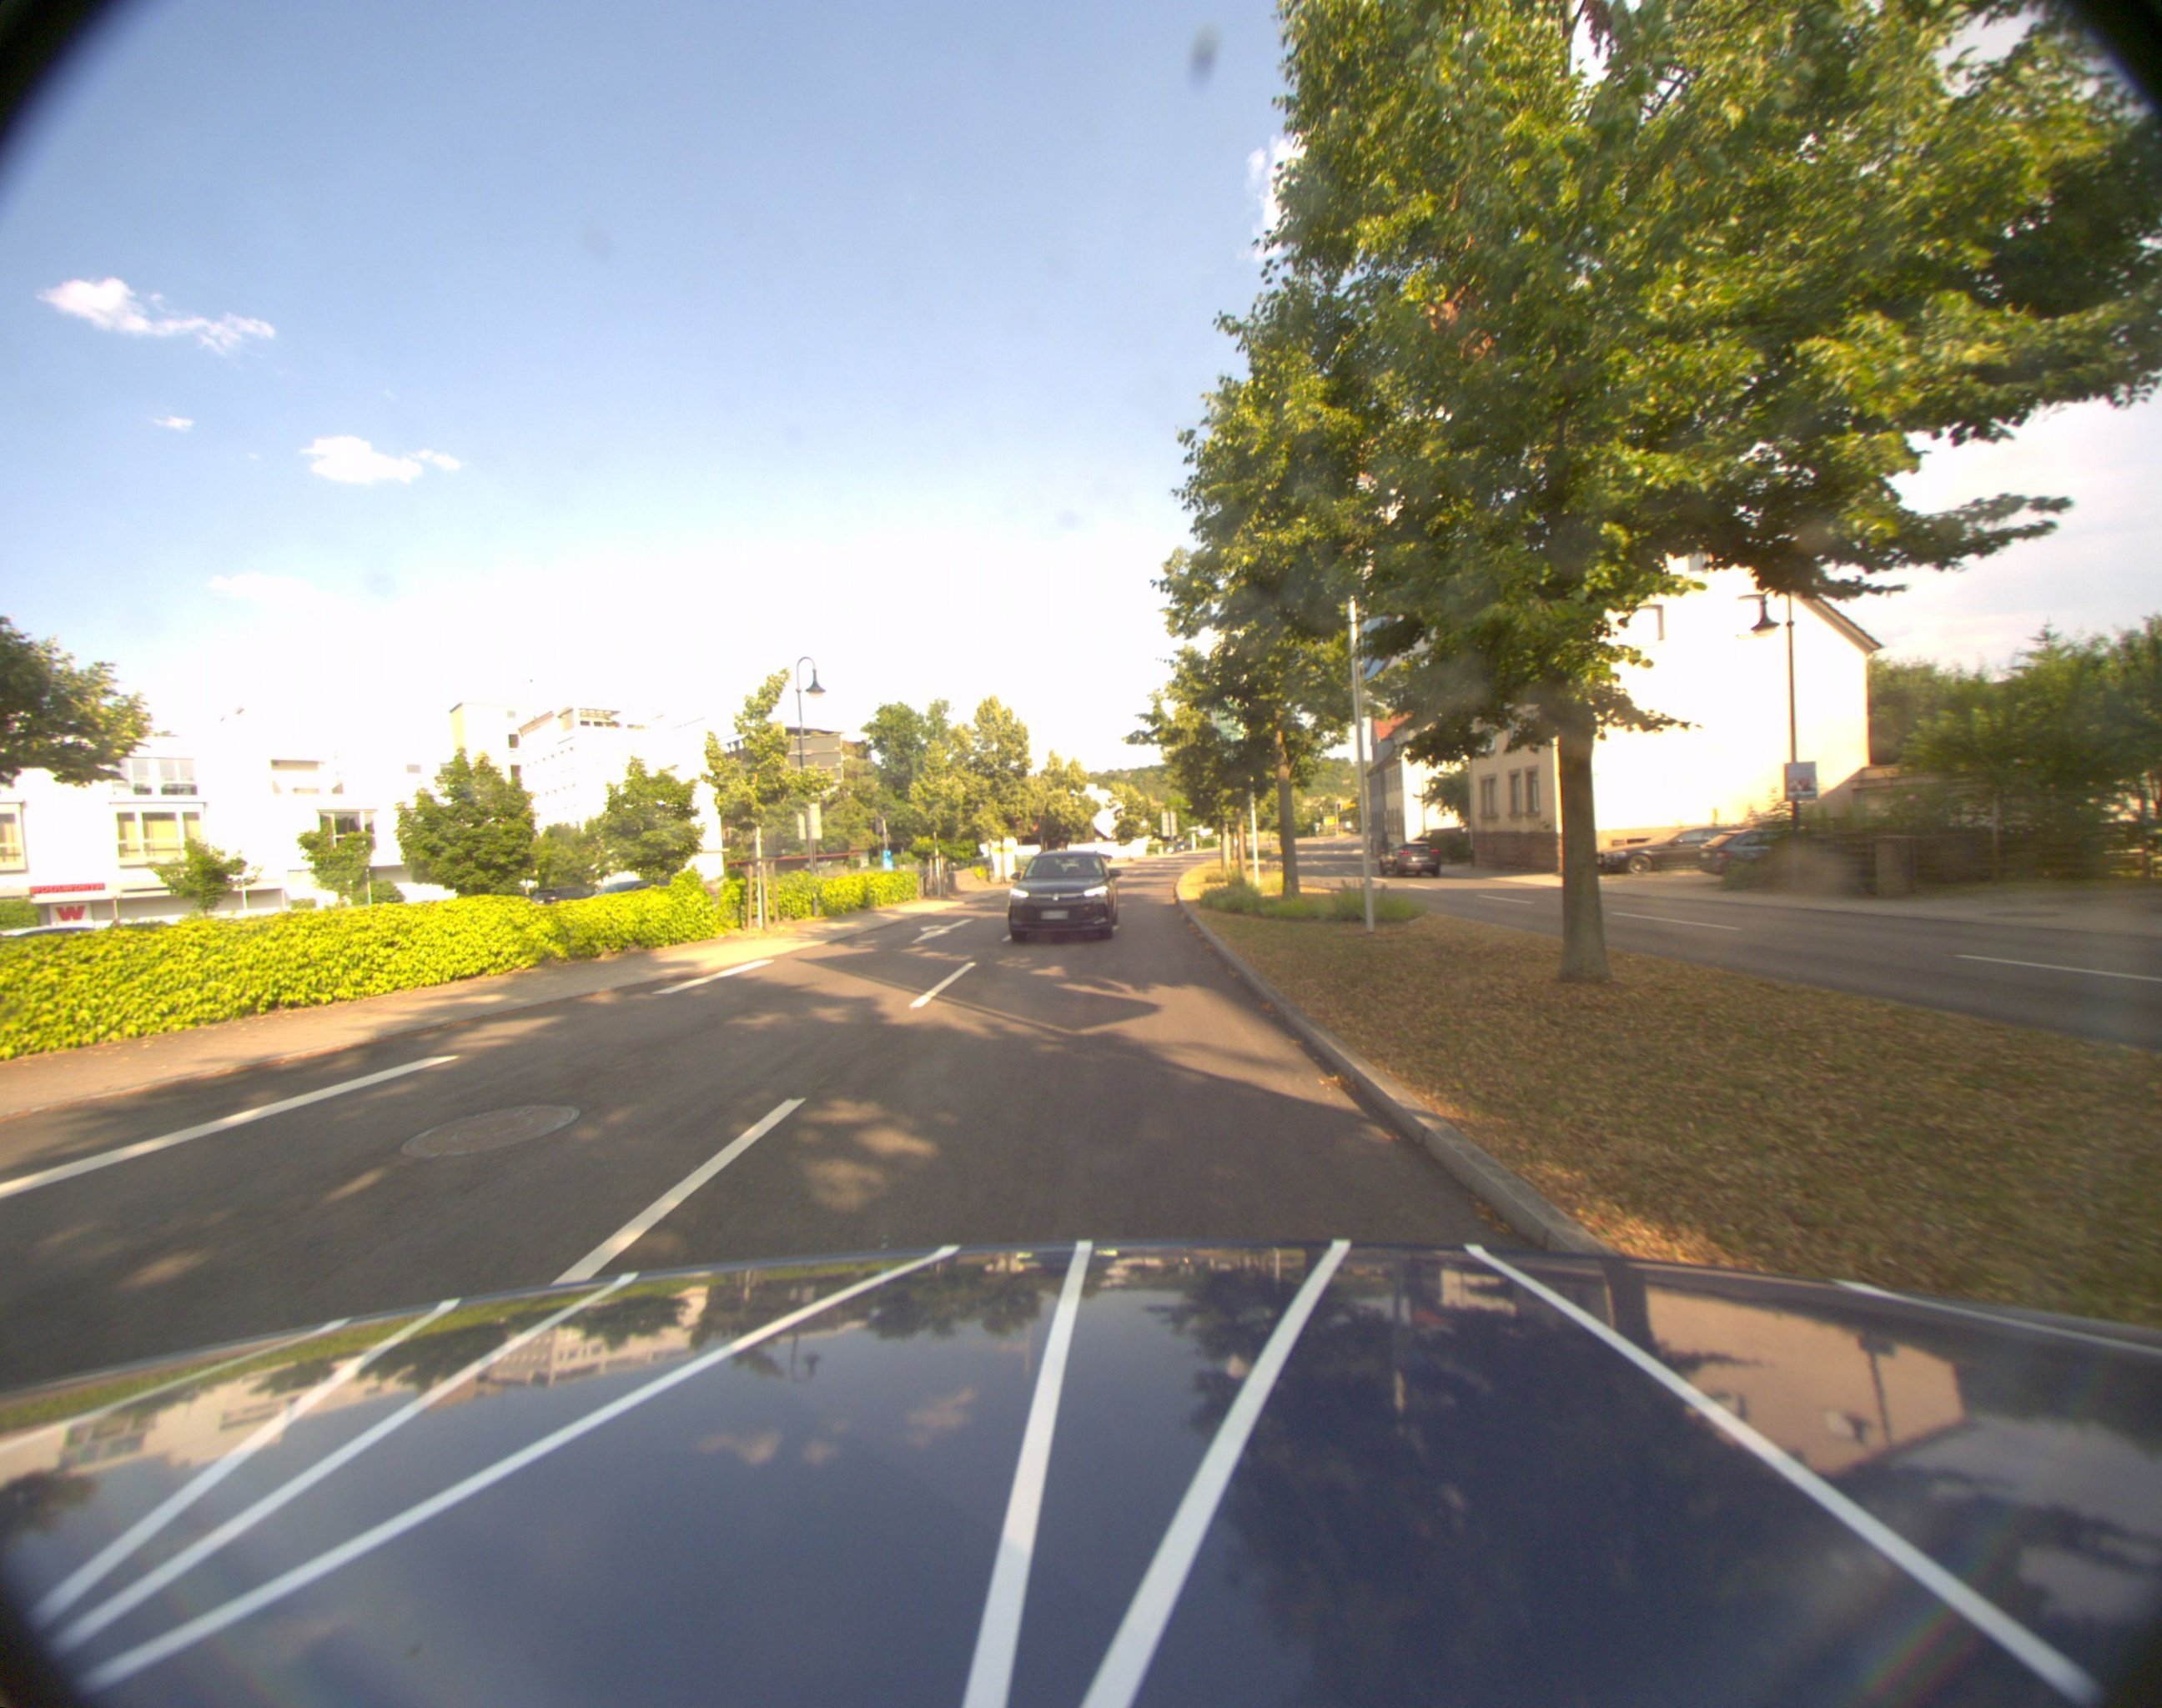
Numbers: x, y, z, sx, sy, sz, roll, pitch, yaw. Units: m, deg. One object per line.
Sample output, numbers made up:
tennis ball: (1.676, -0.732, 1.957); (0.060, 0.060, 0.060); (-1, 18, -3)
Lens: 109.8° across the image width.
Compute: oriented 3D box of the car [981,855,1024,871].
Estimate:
car: (-8.260, 0.947, 79.832); (3.992, 1.412, 1.940); (-3, 1, 16)

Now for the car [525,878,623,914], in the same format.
car: (-29.278, 2.384, 44.097); (1.997, 1.638, 4.551); (-3, 1, 11)

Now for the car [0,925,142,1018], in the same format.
car: (-21.390, 2.380, 14.065); (1.997, 1.530, 4.551); (-3, 1, 11)

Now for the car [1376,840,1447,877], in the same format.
car: (14.446, 0.165, 33.436); (1.943, 1.477, 4.327); (-2, 1, 11)

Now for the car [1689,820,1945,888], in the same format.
car: (18.937, 0.013, 19.851); (4.351, 1.477, 1.949); (-3, 0, 21)

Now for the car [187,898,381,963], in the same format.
car: (-28.324, 2.673, 27.224); (1.891, 1.713, 4.320); (-6, -1, 16)

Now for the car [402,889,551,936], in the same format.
car: (-24.805, 2.367, 31.420); (1.997, 1.435, 4.551); (-3, 1, 11)

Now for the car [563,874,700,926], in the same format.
car: (-17.384, 1.714, 29.716); (1.997, 1.523, 4.551); (-5, 0, 11)

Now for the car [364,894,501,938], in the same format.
car: (-27.371, 2.582, 32.267); (1.997, 1.435, 3.955); (-3, 1, 11)

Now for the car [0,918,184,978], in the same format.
car: (-38.475, 3.550, 29.286); (1.996, 1.638, 4.554); (-3, 1, 21)

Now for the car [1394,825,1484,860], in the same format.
car: (22.831, -0.732, 48.673); (4.831, 1.866, 2.002); (-5, 0, 15)

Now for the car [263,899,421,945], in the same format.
car: (-31.704, 2.857, 32.818); (1.876, 1.435, 4.551); (-3, 1, 11)

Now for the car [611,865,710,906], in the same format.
car: (-22.452, 1.651, 40.834); (1.997, 1.844, 4.650); (-3, 1, 11)

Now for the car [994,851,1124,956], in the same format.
car: (-0.239, 0.810, 14.420); (1.724, 1.605, 4.263); (-2, 1, 8)

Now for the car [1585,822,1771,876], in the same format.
car: (19.440, -0.152, 25.001); (4.351, 1.477, 2.014); (-3, 1, 20)

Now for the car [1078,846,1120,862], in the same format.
car: (1.893, 0.012, 78.068); (3.831, 1.412, 1.940); (-3, 1, 16)
